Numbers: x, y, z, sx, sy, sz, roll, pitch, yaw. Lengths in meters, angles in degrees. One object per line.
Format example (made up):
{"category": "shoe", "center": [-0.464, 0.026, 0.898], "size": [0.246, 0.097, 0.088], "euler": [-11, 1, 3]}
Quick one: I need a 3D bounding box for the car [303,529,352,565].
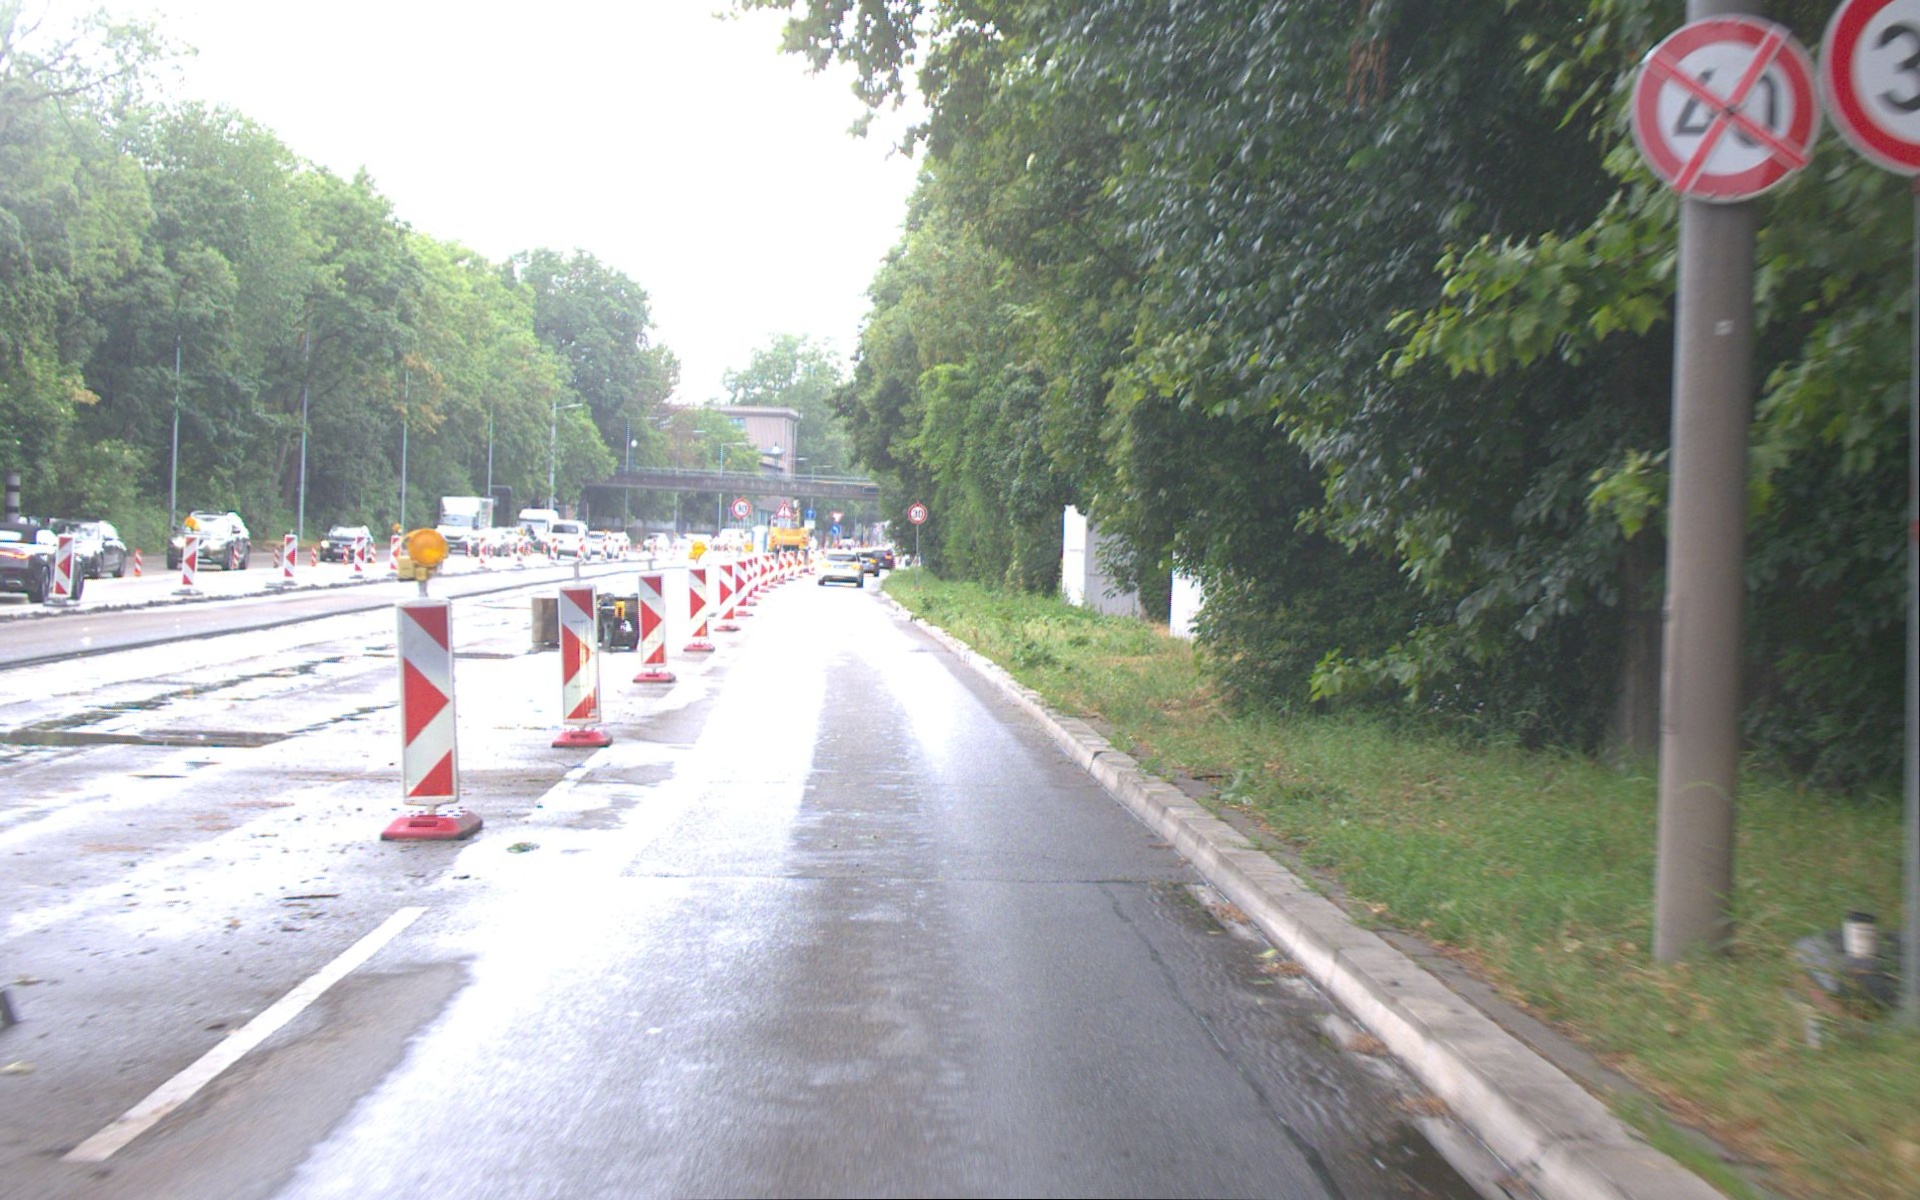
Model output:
{"category": "car", "center": [-24.217, -2.037, 131.685], "size": [1.447, 1.327, 3.862], "euler": [2, 1, -5]}

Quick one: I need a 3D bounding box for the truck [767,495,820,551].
{"category": "truck", "center": [-11.035, -5.161, 229.387], "size": [3.259, 3.485, 13.872], "euler": [2, 1, -2]}

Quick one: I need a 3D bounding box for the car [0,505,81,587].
{"category": "car", "center": [-17.253, -1.006, 62.473], "size": [1.607, 1.399, 4.041], "euler": [2, 1, -2]}

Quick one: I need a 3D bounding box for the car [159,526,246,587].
{"category": "car", "center": [-22.424, -1.313, 101.938], "size": [1.734, 1.716, 4.494], "euler": [2, 1, -3]}

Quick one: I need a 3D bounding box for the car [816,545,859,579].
{"category": "car", "center": [-4.927, -1.549, 138.355], "size": [1.697, 1.331, 3.491], "euler": [0, 1, -2]}

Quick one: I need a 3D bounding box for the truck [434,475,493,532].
{"category": "truck", "center": [-26.757, -5.186, 185.596], "size": [2.246, 2.930, 6.936], "euler": [2, 1, -1]}

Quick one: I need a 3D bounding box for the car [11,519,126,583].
{"category": "car", "center": [-21.879, -1.232, 84.533], "size": [1.760, 1.478, 4.901], "euler": [1, 1, -3]}
